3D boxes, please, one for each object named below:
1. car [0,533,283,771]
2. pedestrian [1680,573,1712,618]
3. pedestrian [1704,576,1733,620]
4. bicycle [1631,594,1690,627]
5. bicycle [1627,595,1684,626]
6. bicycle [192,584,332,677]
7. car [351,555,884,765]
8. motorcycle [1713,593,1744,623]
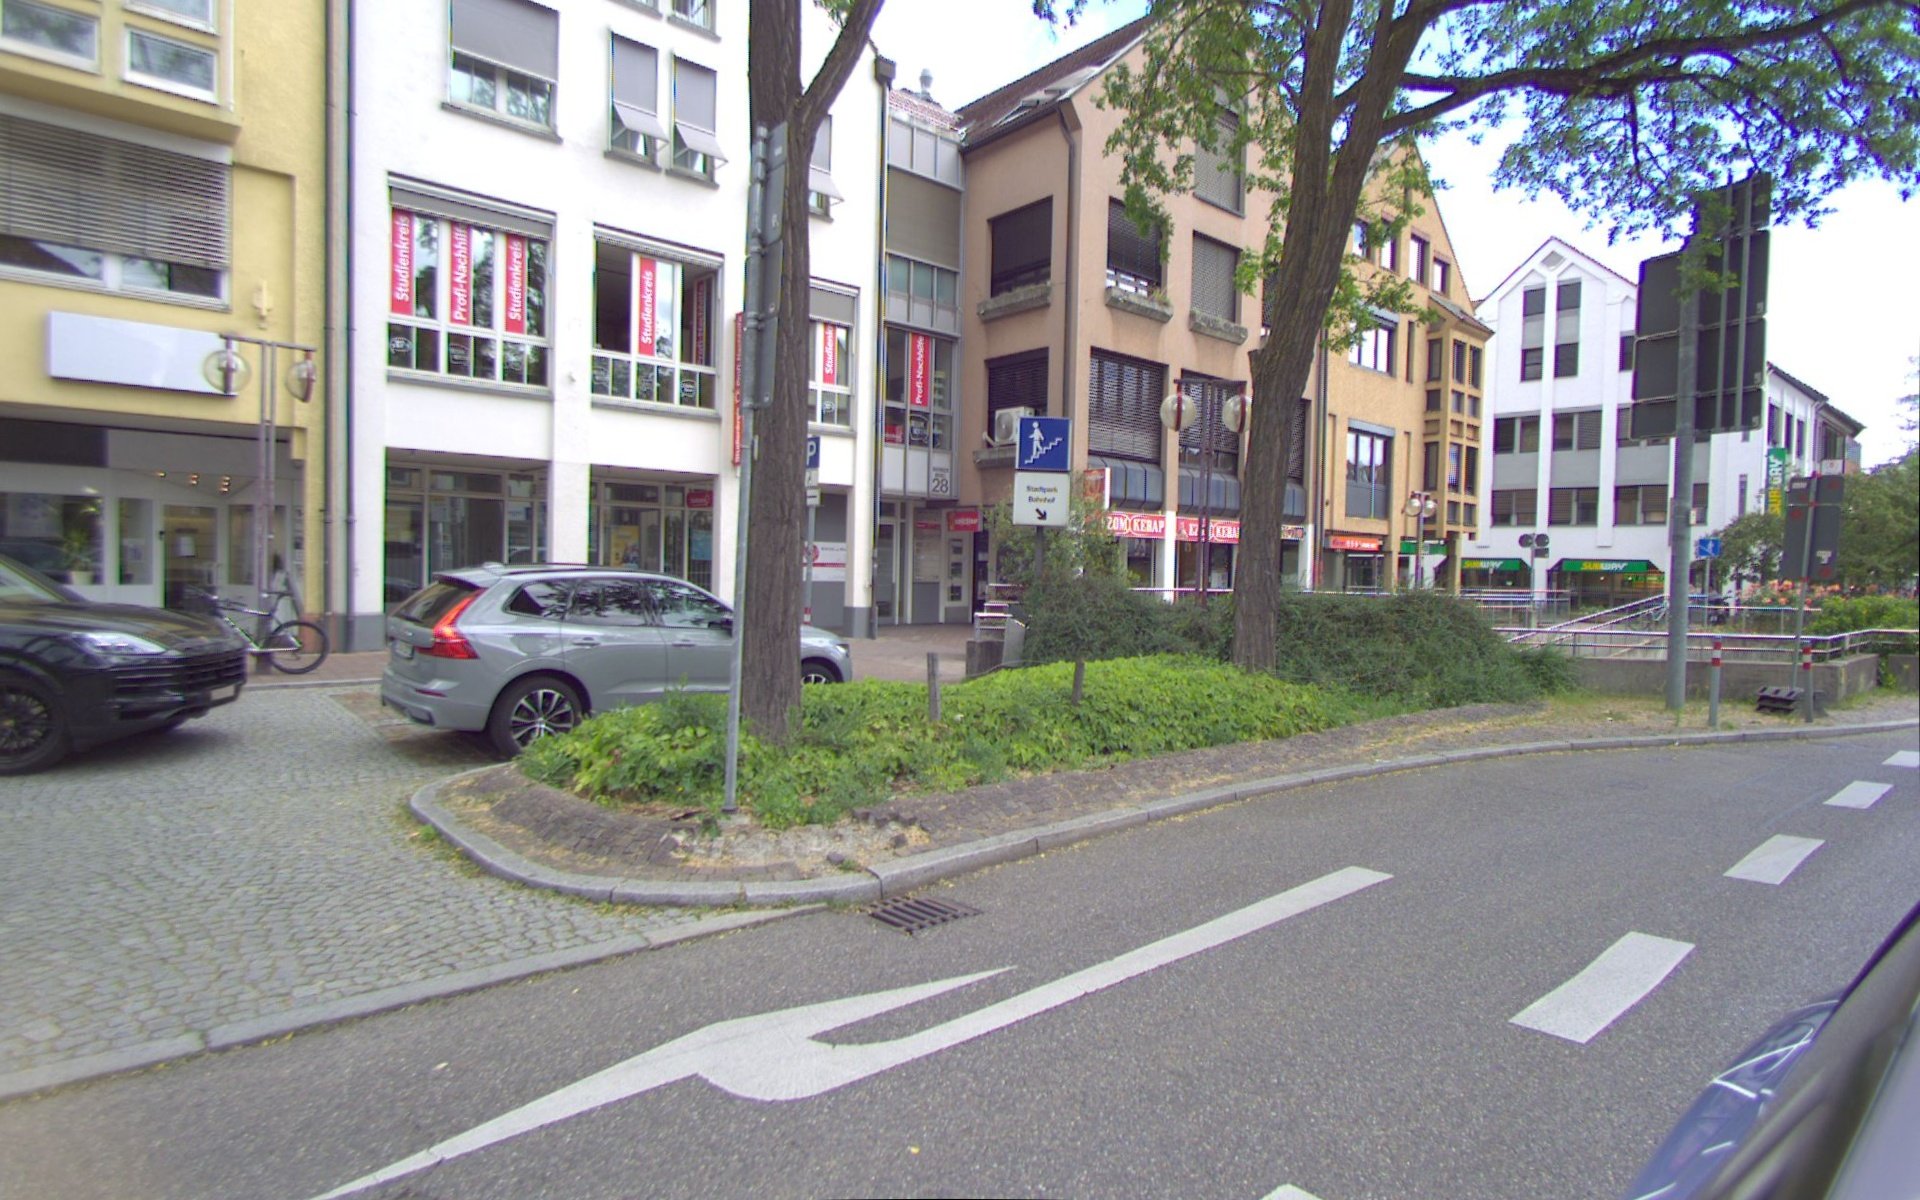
[{"bbox_3d":[-8.275,0.307,7.925,4.566,1.690,1.863,2,2,-12],"label":"car"},{"bbox_3d":[30.190,-0.186,41.515,0.879,1.779,0.935,2,1,29],"label":"pedestrian"},{"bbox_3d":[31.931,-0.082,42.584,0.772,1.846,0.869,0,0,-44],"label":"pedestrian"},{"bbox_3d":[23.509,0.344,33.969,1.584,1.014,0.409,2,1,37],"label":"bicycle"},{"bbox_3d":[23.852,0.355,34.710,1.584,0.981,0.455,2,1,36],"label":"bicycle"},{"bbox_3d":[-8.394,0.350,12.203,1.354,1.057,0.393,0,2,-41],"label":"bicycle"},{"bbox_3d":[-3.214,0.429,10.188,4.684,1.615,1.996,0,2,-44],"label":"car"},{"bbox_3d":[28.445,0.282,37.448,1.960,1.081,0.464,0,2,-41],"label":"motorcycle"}]
